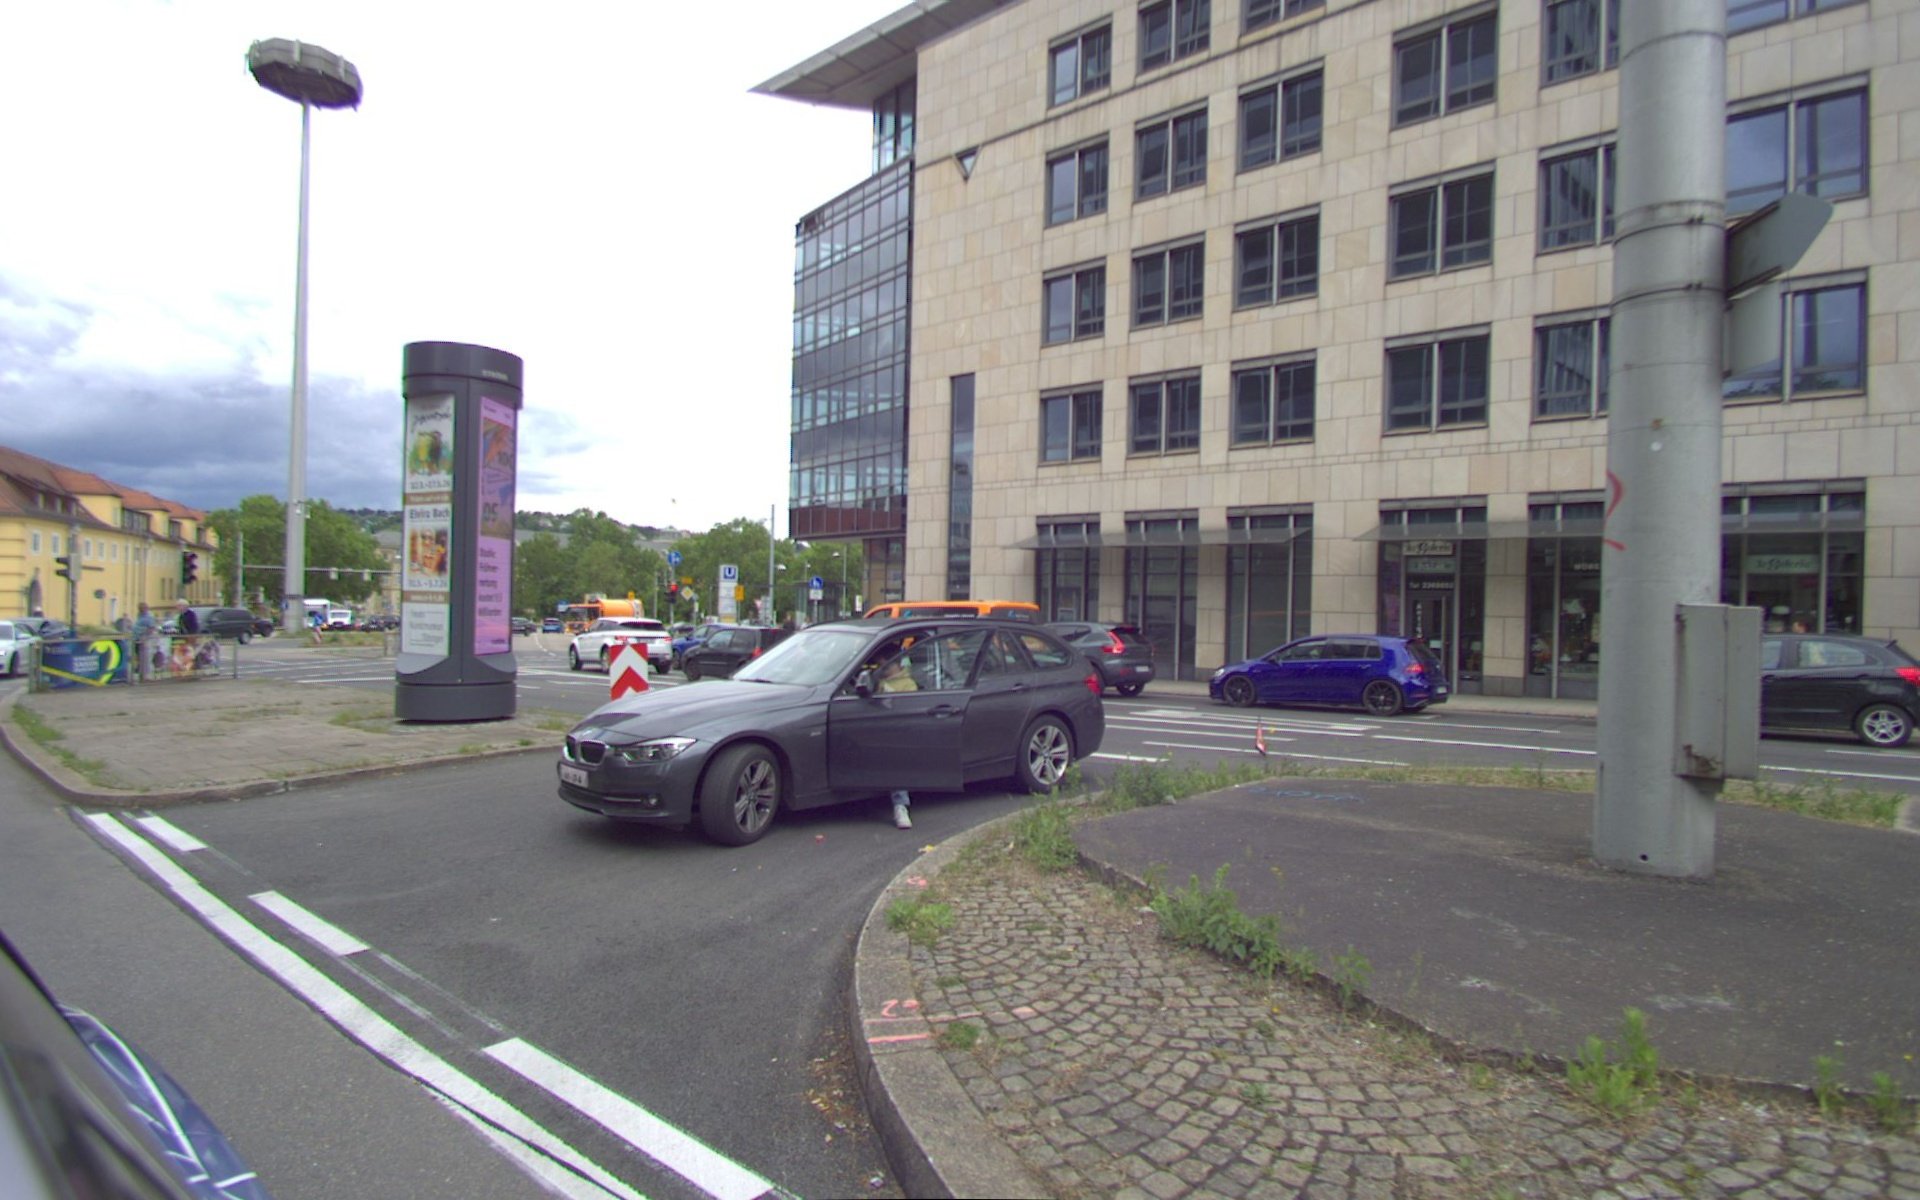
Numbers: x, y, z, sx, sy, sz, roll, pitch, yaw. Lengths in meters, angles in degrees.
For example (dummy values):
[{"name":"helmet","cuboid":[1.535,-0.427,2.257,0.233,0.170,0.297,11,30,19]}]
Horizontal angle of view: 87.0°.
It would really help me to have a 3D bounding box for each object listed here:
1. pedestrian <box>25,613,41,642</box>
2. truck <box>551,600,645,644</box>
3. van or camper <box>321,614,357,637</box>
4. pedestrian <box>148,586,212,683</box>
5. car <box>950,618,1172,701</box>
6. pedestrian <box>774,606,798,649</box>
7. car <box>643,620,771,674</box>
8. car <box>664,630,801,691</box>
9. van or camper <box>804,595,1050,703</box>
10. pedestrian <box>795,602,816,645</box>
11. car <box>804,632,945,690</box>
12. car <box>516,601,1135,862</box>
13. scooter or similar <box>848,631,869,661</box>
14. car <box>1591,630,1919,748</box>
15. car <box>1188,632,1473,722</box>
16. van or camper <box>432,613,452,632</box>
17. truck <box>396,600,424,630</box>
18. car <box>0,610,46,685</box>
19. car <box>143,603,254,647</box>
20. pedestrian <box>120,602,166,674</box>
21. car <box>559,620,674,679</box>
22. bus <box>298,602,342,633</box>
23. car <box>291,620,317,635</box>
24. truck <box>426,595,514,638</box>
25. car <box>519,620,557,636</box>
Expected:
[{"name":"pedestrian","cuboid":[-60.800,1.807,66.385,0.556,1.909,0.632,-1,-2,30]},{"name":"truck","cuboid":[-32.643,1.957,91.782,2.709,3.643,9.113,-3,-2,21]},{"name":"van or camper","cuboid":[-63.357,2.630,103.334,2.334,2.280,6.308,2,-2,-24]},{"name":"pedestrian","cuboid":[-18.108,0.795,23.498,0.758,2.189,0.872,0,-2,23]},{"name":"car","cuboid":[2.172,1.267,22.646,4.681,1.658,1.972,-1,-3,41]},{"name":"pedestrian","cuboid":[-6.859,1.074,39.888,0.643,1.625,0.969,1,1,-26]},{"name":"car","cuboid":[-7.932,1.414,31.542,4.091,1.537,1.972,-1,-2,43]},{"name":"car","cuboid":[-5.728,1.469,25.332,3.632,1.390,1.539,-1,-3,43]},{"name":"van or camper","cuboid":[-0.781,0.951,20.597,5.081,1.936,1.893,-1,-3,41]},{"name":"pedestrian","cuboid":[-6.152,0.944,40.298,0.595,1.643,0.789,-2,3,-27]},{"name":"car","cuboid":[-2.222,1.518,25.853,3.632,1.352,1.539,-1,-3,43]},{"name":"car","cuboid":[-0.814,0.784,7.887,4.494,1.469,1.884,1,-1,-41]},{"name":"scooter or similar","cuboid":[-4.159,1.879,41.503,0.527,1.217,1.381,0,-1,10]},{"name":"car","cuboid":[11.620,1.205,14.619,4.029,1.460,1.750,-1,-3,42]},{"name":"car","cuboid":[6.729,1.321,18.699,4.572,1.406,1.972,-1,-2,43]},{"name":"van or camper","cuboid":[-56.015,2.420,109.413,1.834,1.931,4.729,1,-1,-27]},{"name":"truck","cuboid":[-66.862,1.852,123.111,2.744,3.516,8.376,2,-2,-28]},{"name":"car","cuboid":[-24.663,1.278,25.312,2.062,1.621,4.423,-3,-3,-34]},{"name":"car","cuboid":[-37.558,1.231,50.079,1.835,2.003,4.639,2,-1,1]},{"name":"pedestrian","cuboid":[-21.083,0.996,26.107,0.634,1.804,0.708,-3,-6,41]},{"name":"car","cuboid":[-10.245,1.402,30.001,1.713,1.611,4.325,2,-2,-41]},{"name":"bus","cuboid":[-71.120,1.959,112.706,3.376,3.228,13.103,1,-1,-29]},{"name":"car","cuboid":[-65.447,2.745,101.009,1.797,1.419,4.013,2,-2,-27]},{"name":"truck","cuboid":[-33.253,1.179,68.906,1.940,2.805,5.755,0,-2,17]},{"name":"car","cuboid":[-41.854,2.791,100.388,1.921,1.494,4.628,-1,-1,-1]}]
